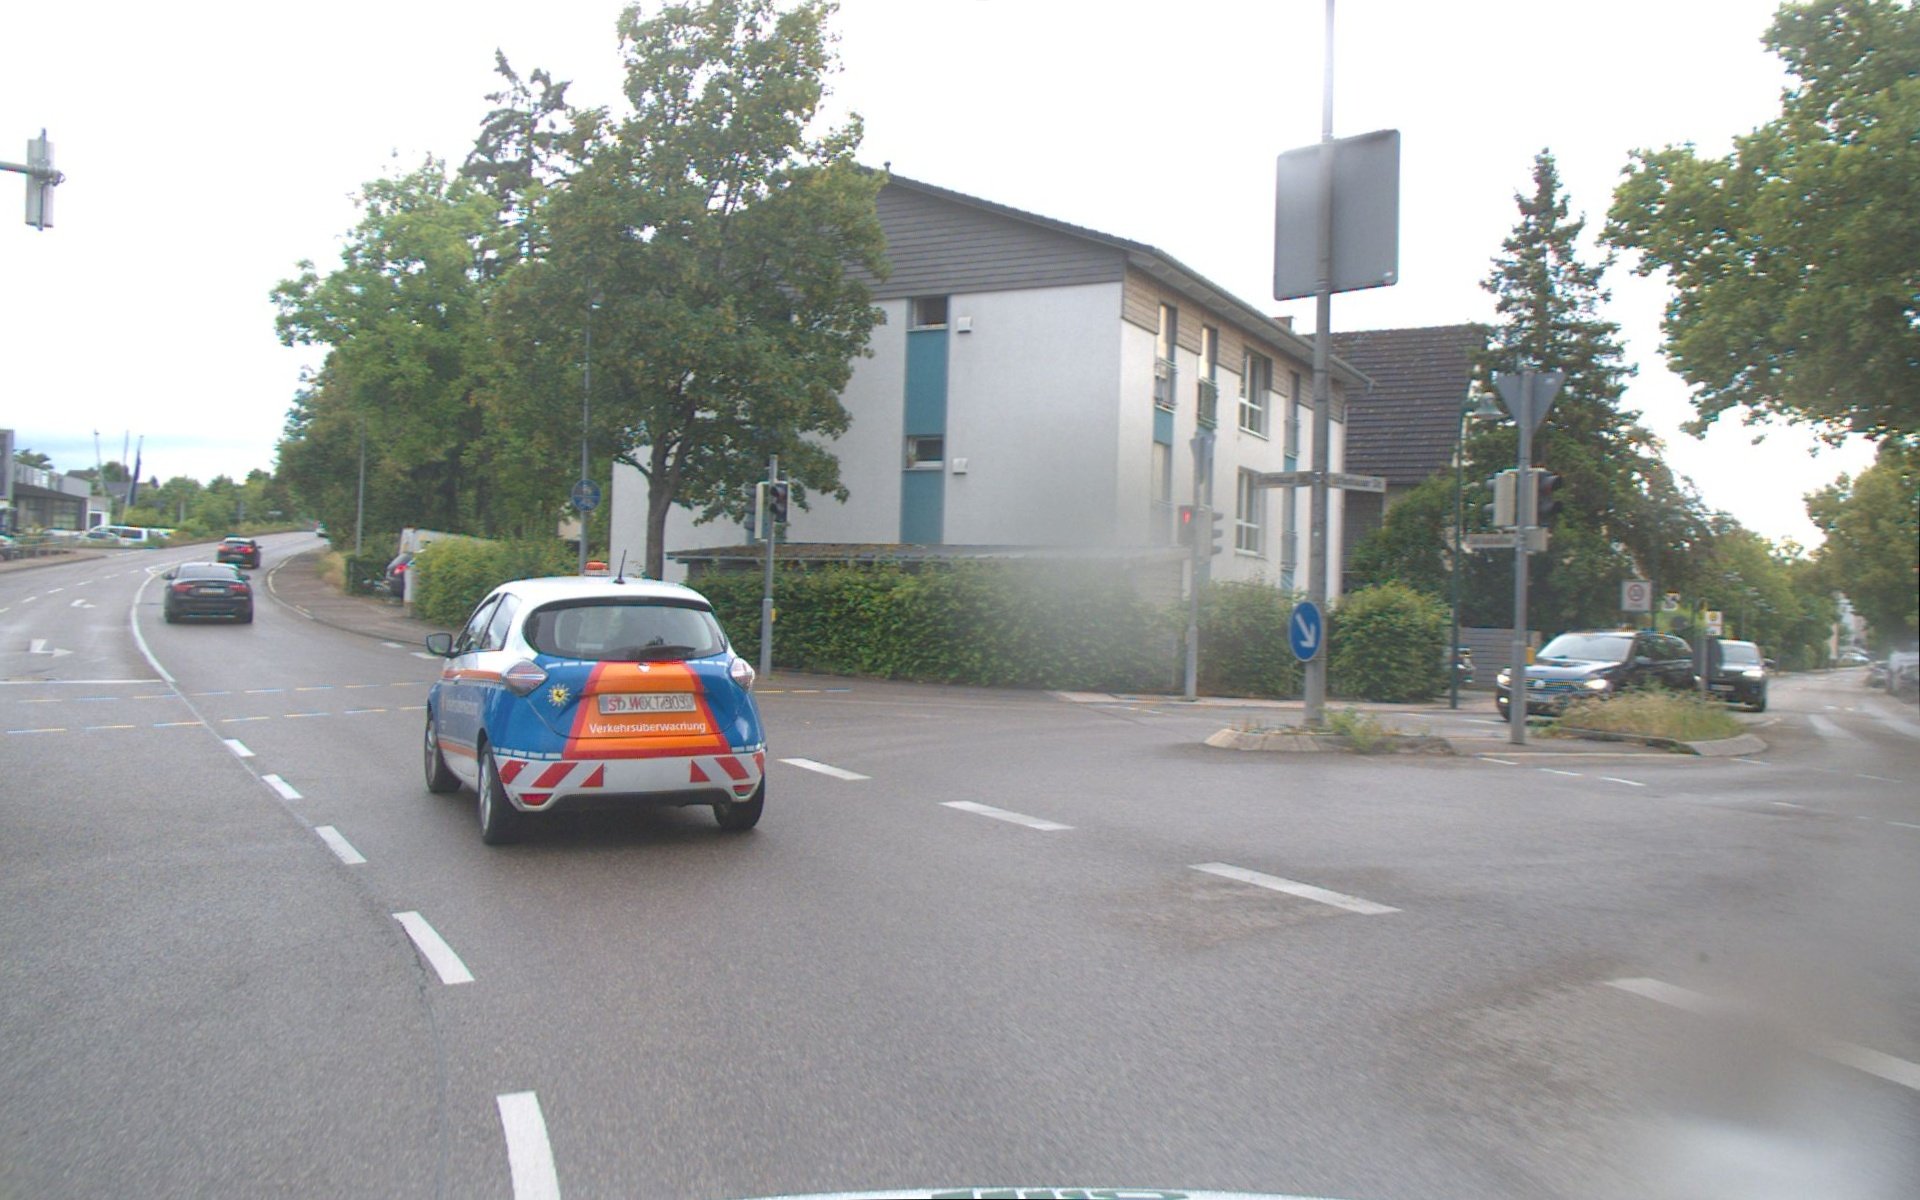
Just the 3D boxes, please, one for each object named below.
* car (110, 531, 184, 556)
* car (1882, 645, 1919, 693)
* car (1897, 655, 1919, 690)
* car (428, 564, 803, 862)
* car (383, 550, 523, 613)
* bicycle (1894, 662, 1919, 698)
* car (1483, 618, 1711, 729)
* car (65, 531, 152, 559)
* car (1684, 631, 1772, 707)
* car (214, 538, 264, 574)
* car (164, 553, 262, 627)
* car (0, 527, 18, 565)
[{"bbox_3d":[-62.241,-4.332,126.699,1.779,1.652,4.752,2,0,37],"label":"car"},{"bbox_3d":[43.814,3.173,76.799,1.612,2.052,3.710,2,0,28],"label":"car"},{"bbox_3d":[41.588,3.141,71.603,1.612,1.399,3.710,2,1,28],"label":"car"},{"bbox_3d":[-2.488,0.618,11.139,1.722,1.609,3.971,1,0,-23],"label":"car"},{"bbox_3d":[-15.594,-0.571,50.833,3.931,1.753,1.987,2,1,-22],"label":"car"},{"bbox_3d":[35.356,2.947,60.177,2.298,1.243,0.734,2,0,36],"label":"bicycle"},{"bbox_3d":[9.969,1.139,25.721,1.914,1.477,4.274,3,0,41],"label":"car"},{"bbox_3d":[-55.959,-3.612,108.791,1.779,1.652,4.752,2,0,37],"label":"car"},{"bbox_3d":[18.938,1.660,40.784,1.840,1.698,3.710,2,0,25],"label":"car"},{"bbox_3d":[-35.911,-2.187,82.473,1.964,1.713,3.977,2,1,-20],"label":"car"},{"bbox_3d":[-17.681,-0.263,39.289,1.967,1.601,3.972,2,1,-23],"label":"car"},{"bbox_3d":[-44.502,-2.458,73.192,4.700,1.652,1.798,2,0,-27],"label":"car"}]
